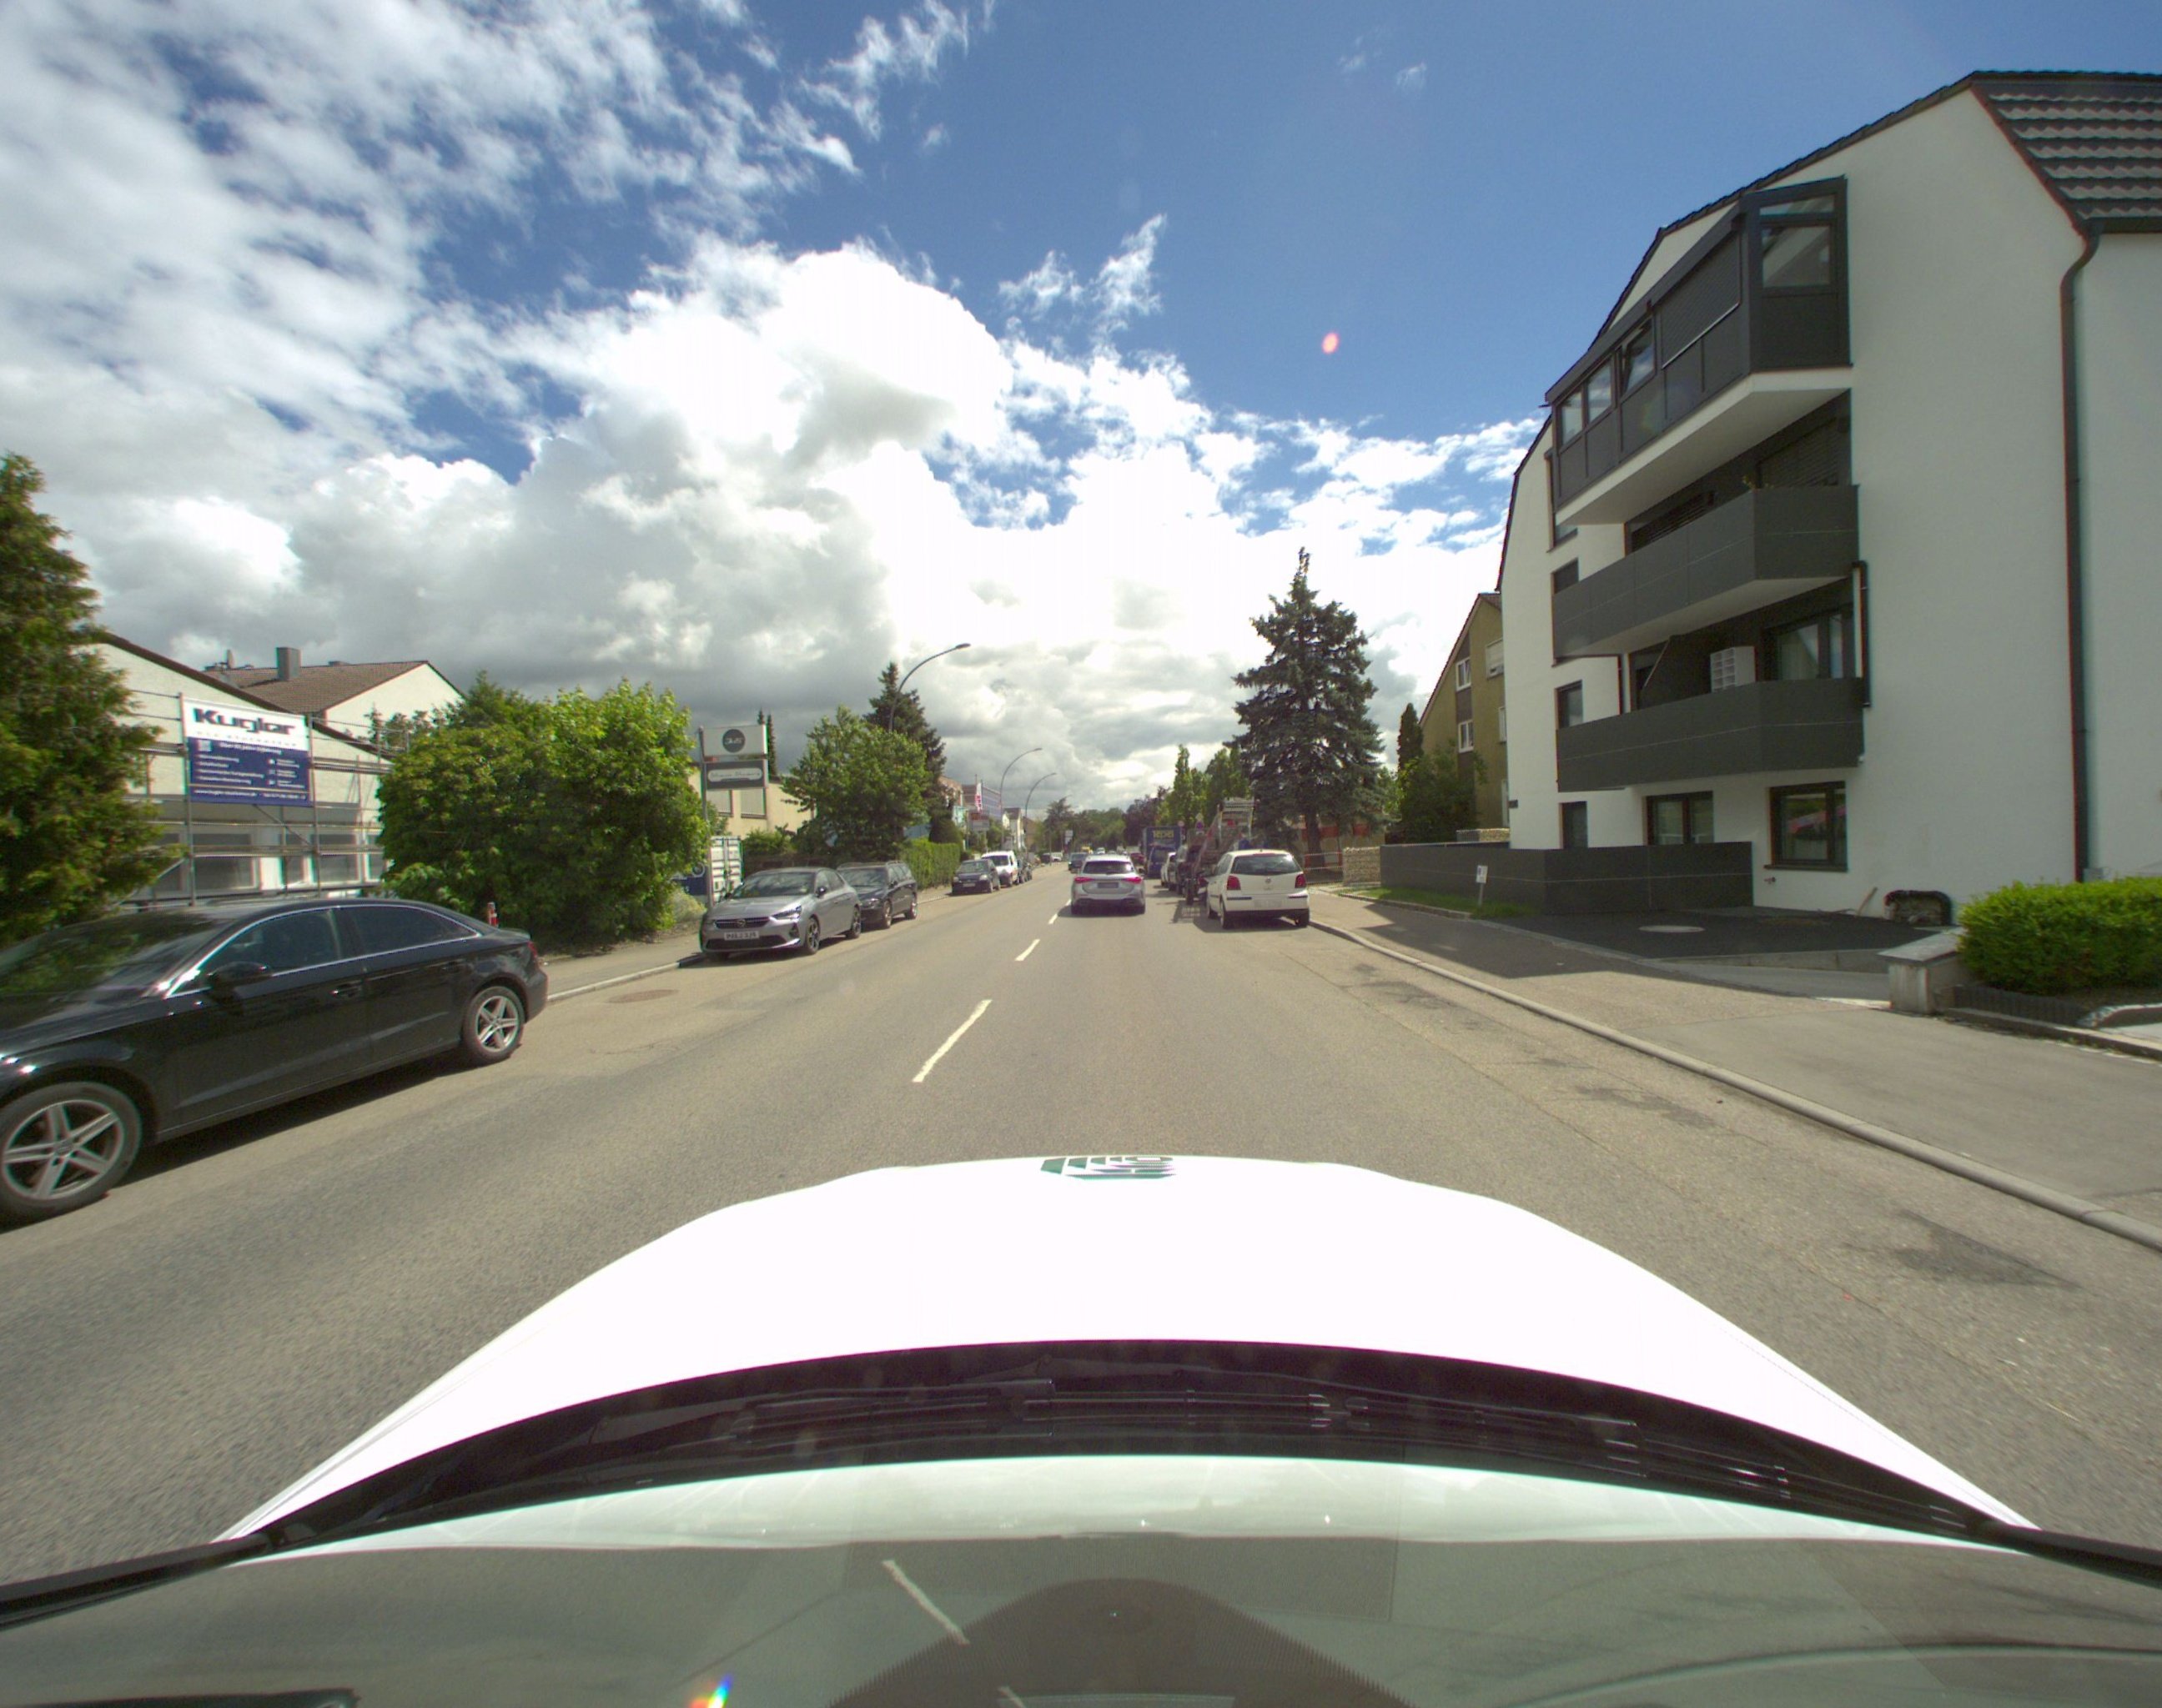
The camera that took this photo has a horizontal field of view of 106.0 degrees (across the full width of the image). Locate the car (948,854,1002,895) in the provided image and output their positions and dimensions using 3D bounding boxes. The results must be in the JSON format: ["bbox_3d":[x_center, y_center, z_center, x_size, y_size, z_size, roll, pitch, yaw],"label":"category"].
[{"bbox_3d":[-4.516,0.845,35.341,1.634,1.486,4.001,-5,0,1],"label":"car"}]

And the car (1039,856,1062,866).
[{"bbox_3d":[-5.767,1.351,153.929,4.263,1.567,1.992,-3,-3,2],"label":"car"}]

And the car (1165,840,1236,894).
[{"bbox_3d":[4.266,0.420,29.742,1.867,1.727,4.713,-3,0,0],"label":"car"}]

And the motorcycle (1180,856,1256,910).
[{"bbox_3d":[3.406,0.692,20.188,1.830,1.209,0.710,-3,1,-34],"label":"motorcycle"}]

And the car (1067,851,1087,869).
[{"bbox_3d":[-0.332,0.545,77.647,1.737,1.627,4.357,-2,0,2],"label":"car"}]

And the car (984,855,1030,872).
[{"bbox_3d":[-7.411,0.980,81.932,4.357,1.478,1.872,-2,-1,2],"label":"car"}]

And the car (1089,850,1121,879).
[{"bbox_3d":[1.394,0.571,47.118,1.749,1.558,4.001,-2,0,1],"label":"car"}]

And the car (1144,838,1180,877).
[{"bbox_3d":[4.683,0.180,47.497,1.866,2.169,4.467,0,0,2],"label":"car"}]

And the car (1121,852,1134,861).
[{"bbox_3d":[8.025,0.436,140.455,1.786,1.450,4.362,-3,0,0],"label":"car"}]

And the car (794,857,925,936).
[{"bbox_3d":[-5.048,0.886,19.275,1.714,1.493,4.735,-3,1,0],"label":"car"}]

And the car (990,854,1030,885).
[{"bbox_3d":[-4.003,0.856,46.579,1.737,1.472,4.645,-5,0,1],"label":"car"}]

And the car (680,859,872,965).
[{"bbox_3d":[-5.168,0.898,14.477,1.714,1.432,4.199,-4,1,0],"label":"car"}]

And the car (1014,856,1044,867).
[{"bbox_3d":[-7.472,1.047,117.495,4.138,1.491,1.825,0,0,-2],"label":"car"}]

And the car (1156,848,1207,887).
[{"bbox_3d":[4.312,0.533,35.495,1.766,1.508,4.002,-3,0,2],"label":"car"}]

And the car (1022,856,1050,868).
[{"bbox_3d":[-7.815,1.300,141.783,4.614,1.632,2.196,-5,0,-2],"label":"car"}]

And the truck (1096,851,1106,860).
[{"bbox_3d":[5.511,0.393,221.373,2.308,2.178,6.456,-3,0,4],"label":"truck"}]

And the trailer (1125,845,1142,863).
[{"bbox_3d":[6.733,-0.001,104.592,1.935,2.294,4.446,-3,0,1],"label":"trailer"}]

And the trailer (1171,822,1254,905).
[{"bbox_3d":[3.731,0.240,23.733,1.766,2.144,4.115,-3,0,2],"label":"trailer"}]

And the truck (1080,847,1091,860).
[{"bbox_3d":[1.060,-0.150,198.025,2.066,2.814,7.084,-3,0,3],"label":"truck"}]

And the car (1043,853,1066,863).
[{"bbox_3d":[-5.117,0.781,159.036,4.264,1.836,1.991,-2,-3,1],"label":"car"}]

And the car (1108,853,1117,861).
[{"bbox_3d":[6.544,0.673,169.729,1.749,1.558,4.001,-2,0,1],"label":"car"}]

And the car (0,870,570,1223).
[{"bbox_3d":[-5.507,0.926,5.118,1.656,1.414,4.340,-3,1,2],"label":"car"}]

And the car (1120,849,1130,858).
[{"bbox_3d":[10.758,-0.168,199.388,2.136,1.984,5.264,-3,0,2],"label":"car"}]

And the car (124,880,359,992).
[{"bbox_3d":[-13.489,1.233,13.388,1.901,1.387,3.956,-5,0,-35],"label":"car"}]

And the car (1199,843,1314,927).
[{"bbox_3d":[3.487,0.546,16.839,1.712,1.432,3.988,-4,1,4],"label":"car"}]

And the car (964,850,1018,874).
[{"bbox_3d":[-8.192,0.689,74.296,4.639,1.972,2.114,-2,0,-2],"label":"car"}]

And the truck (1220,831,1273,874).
[{"bbox_3d":[9.262,-0.160,45.896,1.823,2.081,5.387,-5,2,1],"label":"truck"}]

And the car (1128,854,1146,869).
[{"bbox_3d":[6.461,0.847,93.456,1.933,1.571,4.451,-3,0,4],"label":"car"}]

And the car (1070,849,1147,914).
[{"bbox_3d":[0.653,0.628,21.133,1.778,1.484,4.316,-1,0,0],"label":"car"}]

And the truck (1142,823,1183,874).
[{"bbox_3d":[5.217,-0.349,53.075,2.311,3.097,6.046,0,0,2],"label":"truck"}]

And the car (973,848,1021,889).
[{"bbox_3d":[-4.174,0.683,41.213,1.737,1.838,4.356,-5,0,1],"label":"car"}]

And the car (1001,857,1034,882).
[{"bbox_3d":[-3.958,0.961,51.412,1.625,1.303,4.116,-5,0,0],"label":"car"}]

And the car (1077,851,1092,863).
[{"bbox_3d":[0.584,0.418,117.447,1.986,1.615,4.412,-3,0,1],"label":"car"}]

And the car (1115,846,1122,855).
[{"bbox_3d":[10.962,-1.037,236.584,1.778,2.518,4.316,-1,0,0],"label":"car"}]

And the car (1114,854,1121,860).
[{"bbox_3d":[10.003,0.898,224.593,1.778,1.715,4.316,-1,0,0],"label":"car"}]

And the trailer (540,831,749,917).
[{"bbox_3d":[-16.355,0.716,30.794,6.218,2.651,2.734,-4,0,2],"label":"trailer"}]
